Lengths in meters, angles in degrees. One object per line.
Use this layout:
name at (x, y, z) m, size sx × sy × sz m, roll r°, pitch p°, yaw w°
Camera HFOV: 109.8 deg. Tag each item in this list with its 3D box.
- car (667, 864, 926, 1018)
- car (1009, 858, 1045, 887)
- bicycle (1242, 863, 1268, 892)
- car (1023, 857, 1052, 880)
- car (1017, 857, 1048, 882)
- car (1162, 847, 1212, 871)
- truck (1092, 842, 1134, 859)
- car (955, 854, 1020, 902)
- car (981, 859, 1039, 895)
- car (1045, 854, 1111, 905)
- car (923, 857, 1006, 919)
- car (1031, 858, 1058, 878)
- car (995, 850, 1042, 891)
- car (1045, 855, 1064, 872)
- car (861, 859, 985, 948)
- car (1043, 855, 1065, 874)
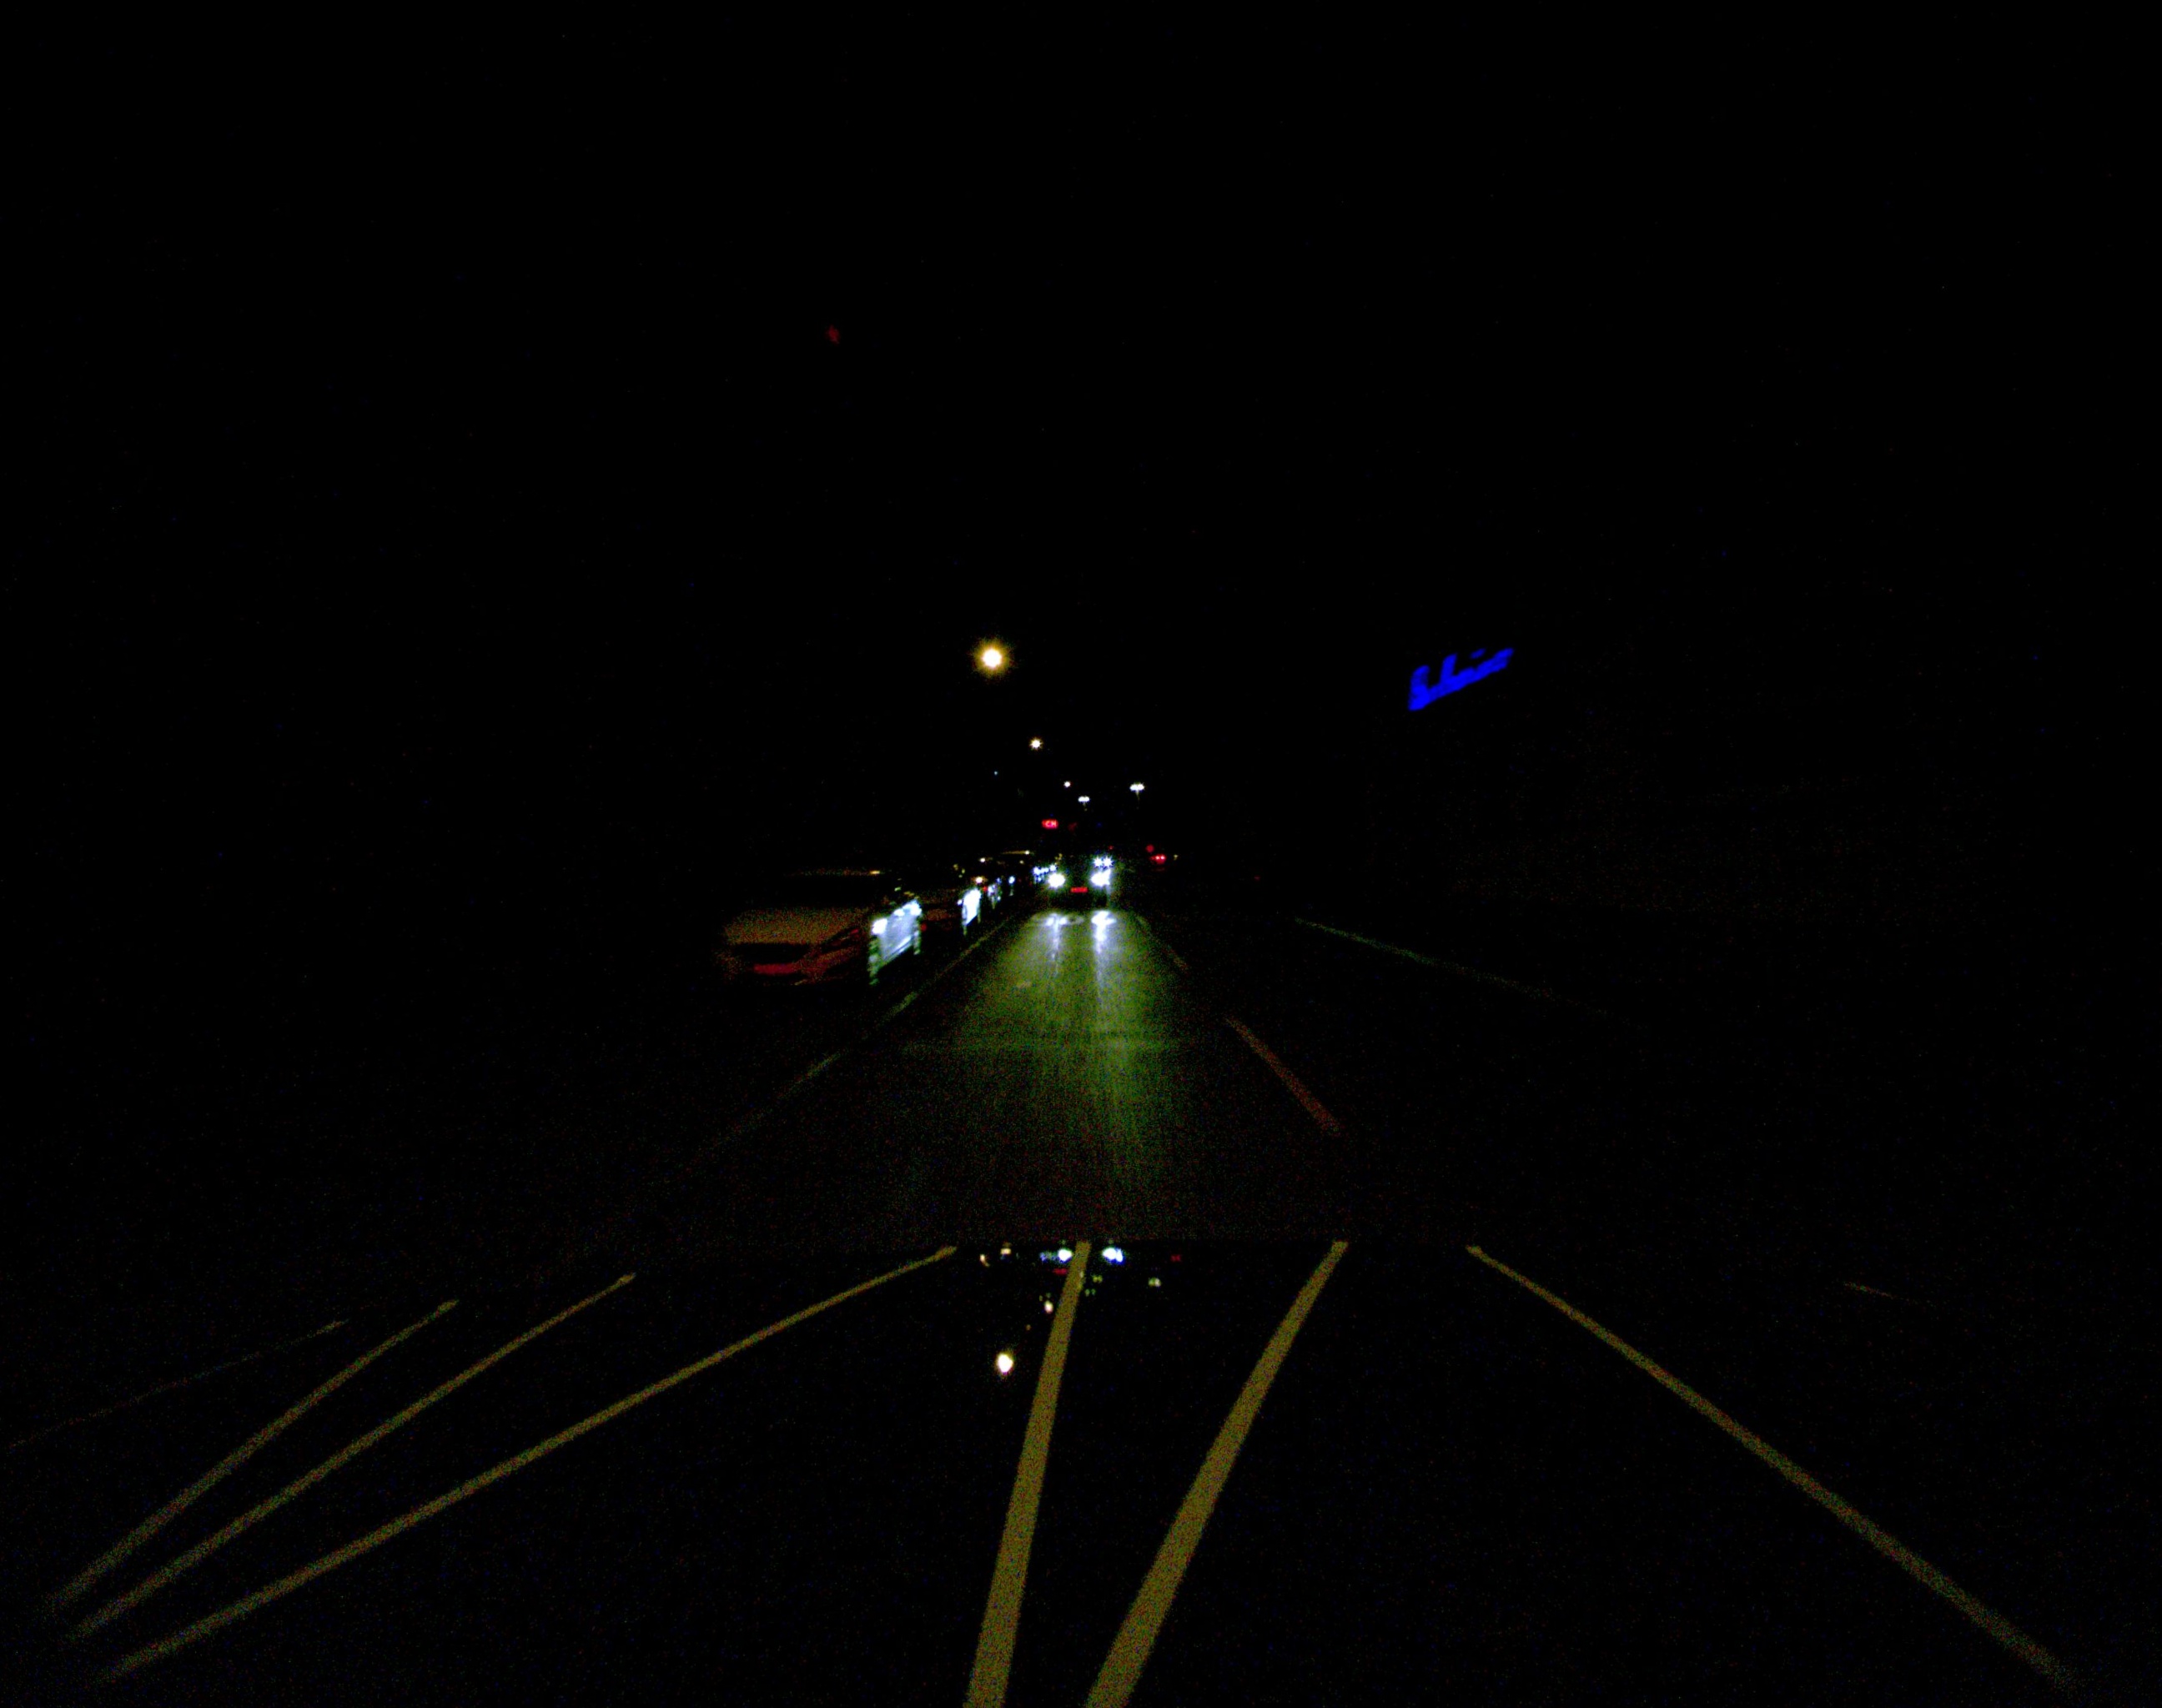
car at (-3.464, 0.946, 10.308) m, size 1.865 × 1.480 × 4.545 m, roll -2°, pitch 1°, yaw -2°
car at (-2.957, 1.003, 42.242) m, size 1.599 × 1.458 × 3.891 m, roll -2°, pitch 1°, yaw 1°
bicycle at (6.773, 0.896, 29.583) m, size 0.621 × 1.045 × 1.721 m, roll -2°, pitch 1°, yaw 1°
car at (-2.997, 0.971, 53.031) m, size 1.783 × 1.418 × 3.891 m, roll -2°, pitch 1°, yaw 0°
car at (-3.026, 0.934, 47.797) m, size 1.599 × 1.458 × 3.719 m, roll -2°, pitch 1°, yaw 1°
car at (8.967, 0.409, 64.276) m, size 3.993 × 1.878 × 1.911 m, roll -1°, pitch 1°, yaw 13°
truck at (7.441, -0.803, 176.258) m, size 9.340 × 3.701 × 2.002 m, roll -1°, pitch 1°, yaw 16°
car at (-3.283, 0.801, 27.594) m, size 1.828 × 1.579 × 4.628 m, roll 0°, pitch 0°, yaw -1°
car at (-2.937, 0.936, 32.188) m, size 1.820 × 1.419 × 4.190 m, roll 0°, pitch 0°, yaw 3°
car at (-0.031, 0.806, 26.120) m, size 1.998 × 1.606 × 4.001 m, roll -1°, pitch 0°, yaw 3°
car at (-3.261, 0.911, 22.161) m, size 1.828 × 1.613 × 4.457 m, roll 0°, pitch 0°, yaw -1°
car at (-2.794, 1.045, 59.086) m, size 1.783 × 1.418 × 4.481 m, roll -2°, pitch 1°, yaw 2°
car at (-2.981, 0.768, 37.018) m, size 1.805 × 1.864 × 4.774 m, roll 1°, pitch 0°, yaw 1°
car at (-2.712, 0.929, 78.342) m, size 1.824 × 1.590 × 4.219 m, roll 1°, pitch 0°, yaw -2°
car at (-3.211, 0.936, 16.320) m, size 1.779 × 1.535 × 4.545 m, roll -2°, pitch 1°, yaw -2°
car at (-2.925, 1.135, 83.999) m, size 2.077 × 1.917 × 5.370 m, roll 0°, pitch 1°, yaw 1°
